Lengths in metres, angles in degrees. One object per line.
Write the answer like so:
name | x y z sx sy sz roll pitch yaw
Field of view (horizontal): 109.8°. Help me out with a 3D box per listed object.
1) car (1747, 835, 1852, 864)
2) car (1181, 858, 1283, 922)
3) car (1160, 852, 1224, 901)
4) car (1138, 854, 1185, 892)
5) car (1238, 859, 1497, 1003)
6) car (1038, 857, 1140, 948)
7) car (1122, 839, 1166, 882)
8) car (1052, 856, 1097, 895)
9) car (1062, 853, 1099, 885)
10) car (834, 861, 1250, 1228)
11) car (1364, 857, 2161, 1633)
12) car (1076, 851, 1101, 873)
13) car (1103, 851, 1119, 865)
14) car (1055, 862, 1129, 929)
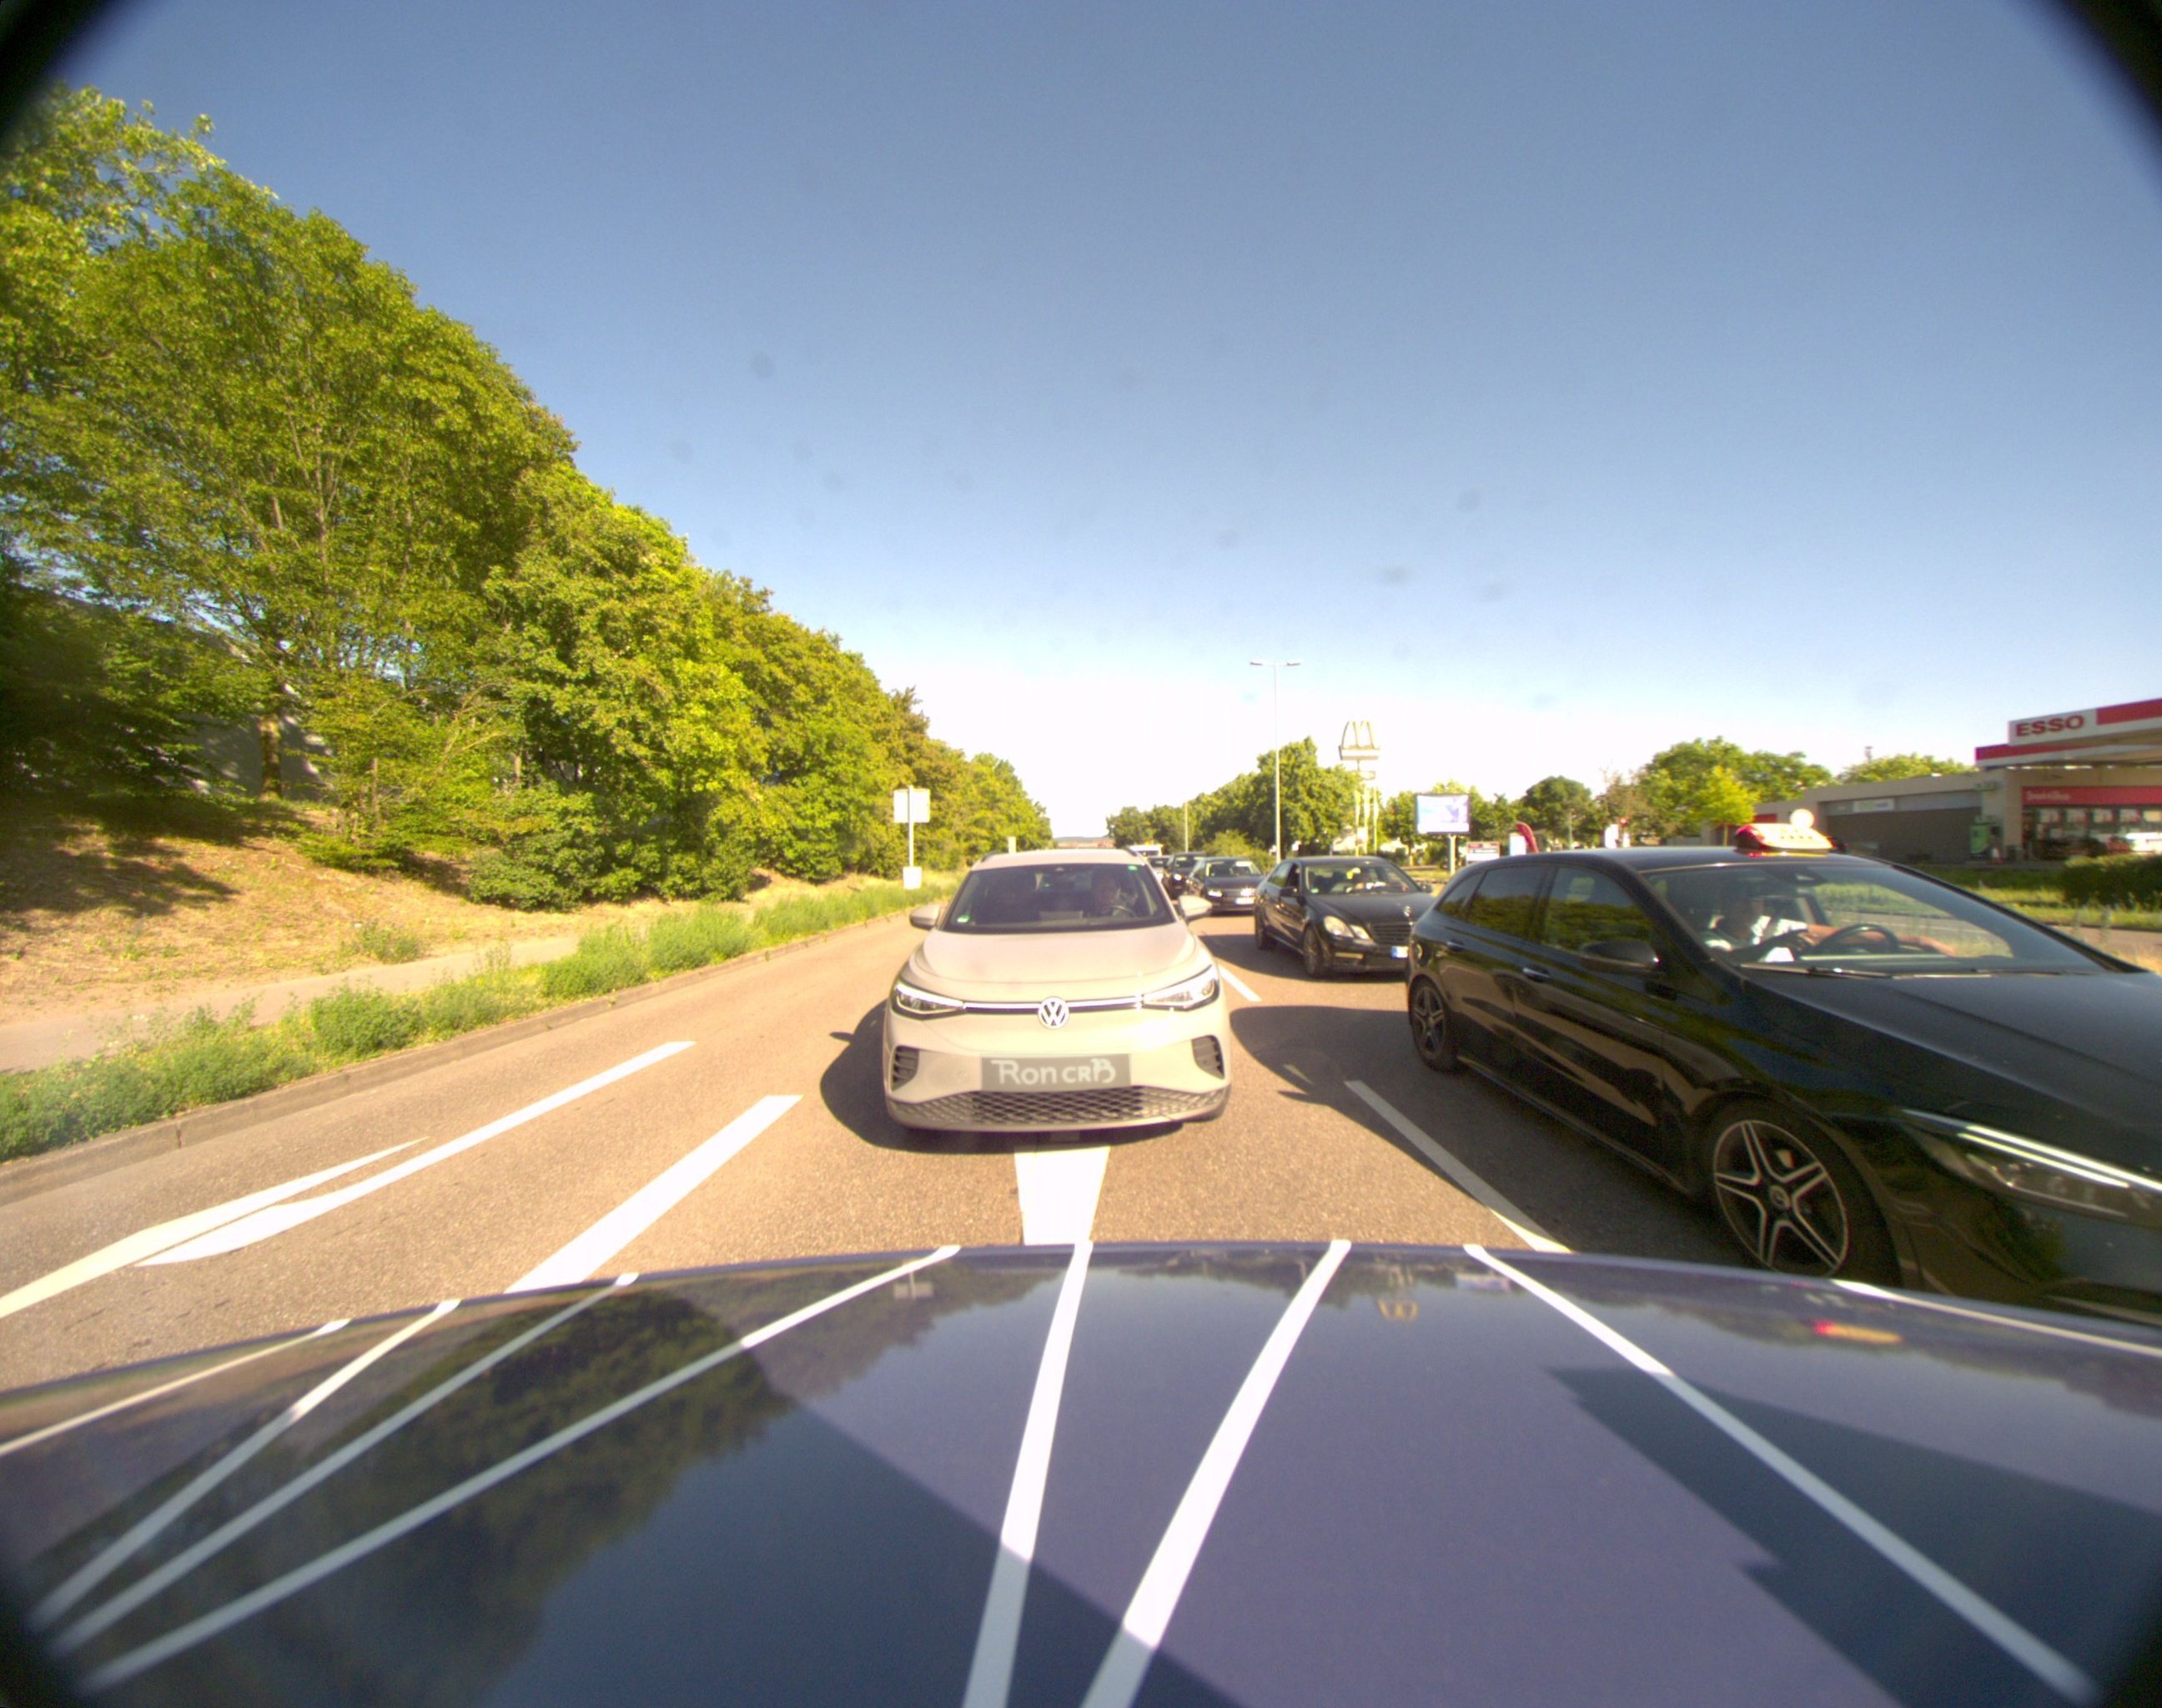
car | 37.428 -0.254 39.738 1.682 1.401 3.978 1 1 0
car | 3.871 0.865 20.219 1.797 1.419 4.287 -2 0 0
car | 3.947 0.760 27.553 1.674 1.607 3.879 -2 0 0
car | 3.572 0.796 34.168 1.635 1.547 3.777 -2 0 0
car | 3.587 0.854 10.503 1.868 1.430 4.402 -2 1 0
car | 0.133 0.876 15.763 1.763 1.482 4.402 -2 1 0
car | 3.723 0.381 46.035 2.019 2.349 6.523 -2 0 0
car | -0.259 0.886 33.037 1.763 1.482 4.402 -2 1 0
car | -0.044 0.718 39.858 1.763 1.482 4.402 -2 1 0
car | -0.184 0.902 5.706 1.862 1.573 4.403 -2 0 0
car | 3.088 0.821 3.656 1.763 1.482 4.402 -2 1 0
car | 0.516 0.588 57.115 1.763 1.482 4.402 -2 1 0
car | 3.757 0.512 95.589 1.763 1.607 4.402 -2 1 0
car | 0.263 1.043 20.931 1.763 1.482 4.402 -2 1 0
